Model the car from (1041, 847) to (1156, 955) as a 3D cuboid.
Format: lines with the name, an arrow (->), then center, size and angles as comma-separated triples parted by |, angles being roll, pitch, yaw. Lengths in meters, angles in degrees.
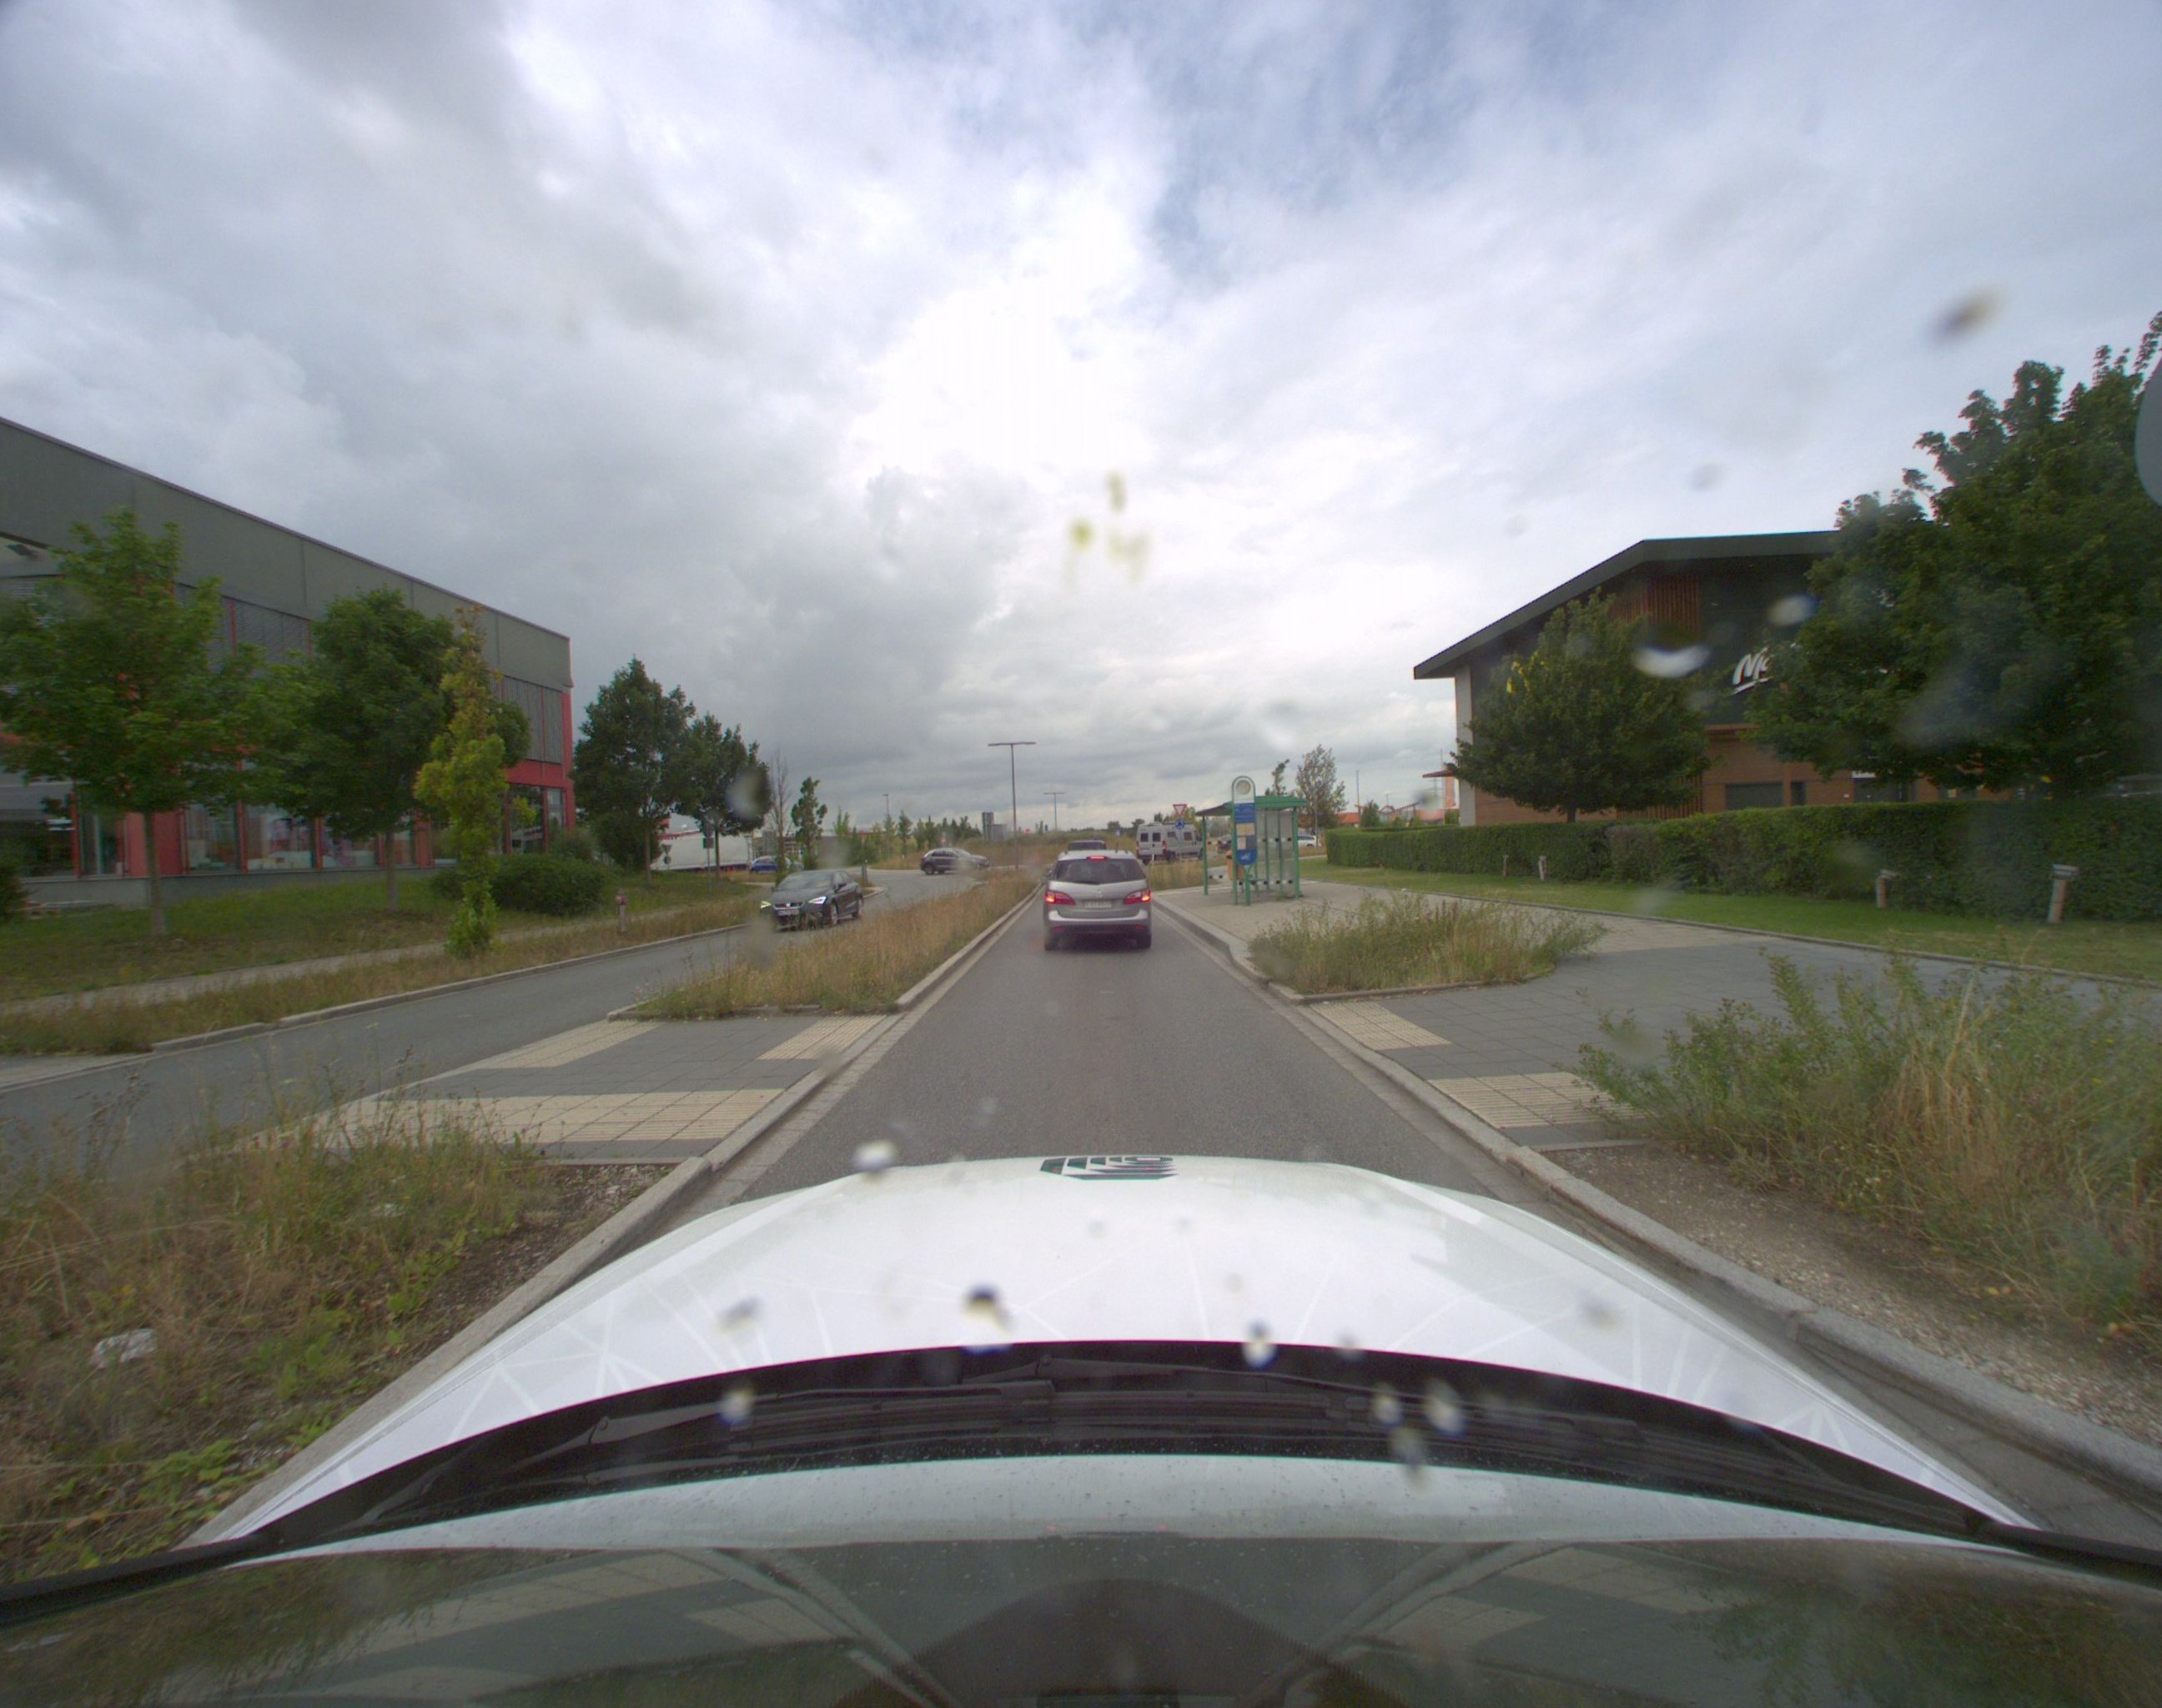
car -> 0.233, 0.688, 14.245 | 1.725, 1.600, 3.805 | -1, 1, -1

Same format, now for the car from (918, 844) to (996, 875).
car -> -7.580, 0.336, 49.839 | 4.159, 1.592, 2.073 | -3, 1, 14

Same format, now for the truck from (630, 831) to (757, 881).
truck -> -33.171, 0.149, 70.172 | 9.317, 3.906, 3.128 | -2, 0, -14

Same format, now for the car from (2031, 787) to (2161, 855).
car -> 28.892, -0.900, 22.073 | 3.974, 1.717, 2.000 | -2, 0, 0

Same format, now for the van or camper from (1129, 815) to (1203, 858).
van or camper -> 5.404, -1.066, 50.954 | 2.280, 2.506, 5.239 | -1, 0, 35

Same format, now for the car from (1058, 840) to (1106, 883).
car -> 0.131, 0.329, 38.179 | 2.050, 1.826, 4.788 | -2, 0, 2

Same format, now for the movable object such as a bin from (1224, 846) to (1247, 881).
movable object such as a bin -> 3.702, 0.223, 19.506 | 0.454, 0.798, 0.380 | -2, 0, -1

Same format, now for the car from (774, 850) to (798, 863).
car -> -44.441, 0.326, 122.809 | 1.986, 1.859, 4.001 | -2, 0, 1

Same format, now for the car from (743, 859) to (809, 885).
car -> -21.440, 1.253, 57.261 | 4.177, 1.528, 1.858 | -4, 0, 23

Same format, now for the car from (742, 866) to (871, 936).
car -> -6.879, 1.122, 20.872 | 1.835, 1.407, 4.000 | -4, 0, 0

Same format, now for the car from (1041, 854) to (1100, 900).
car -> -0.300, 0.750, 29.094 | 1.838, 1.418, 4.226 | -2, 1, 2

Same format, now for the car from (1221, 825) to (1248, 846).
car -> 12.221, -1.426, 64.995 | 1.982, 1.515, 4.011 | -2, 0, 9

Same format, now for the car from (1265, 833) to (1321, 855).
car -> 18.688, -0.902, 71.910 | 4.573, 1.757, 2.006 | -2, 0, 10
